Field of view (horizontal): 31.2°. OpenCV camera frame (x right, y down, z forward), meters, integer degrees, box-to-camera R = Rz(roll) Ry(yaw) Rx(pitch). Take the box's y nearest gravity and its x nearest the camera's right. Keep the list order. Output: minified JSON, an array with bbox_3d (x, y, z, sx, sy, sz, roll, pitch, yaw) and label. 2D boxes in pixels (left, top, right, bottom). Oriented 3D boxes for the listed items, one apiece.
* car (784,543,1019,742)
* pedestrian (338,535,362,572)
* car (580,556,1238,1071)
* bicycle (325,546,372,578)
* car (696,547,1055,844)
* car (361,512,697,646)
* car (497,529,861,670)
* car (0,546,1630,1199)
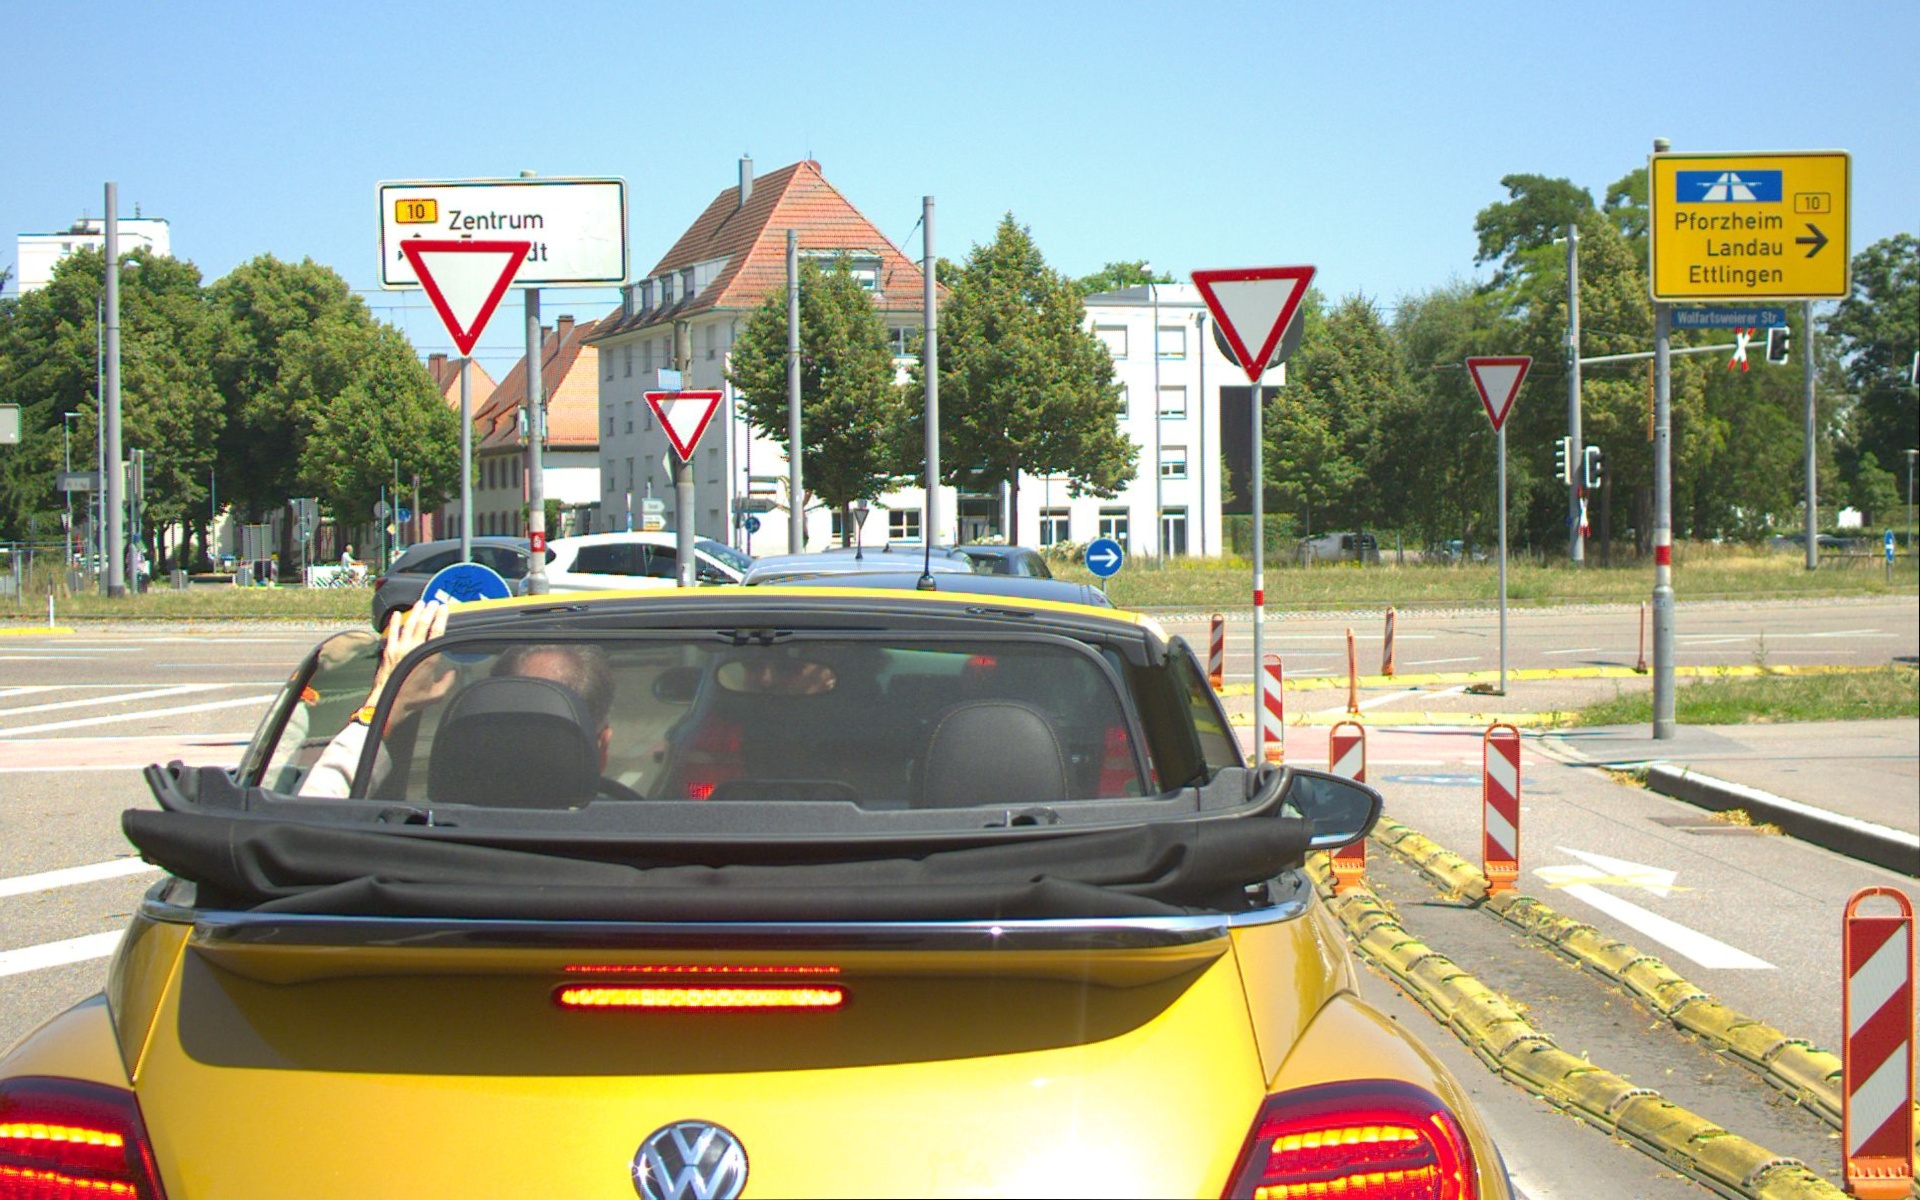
[{"bbox_3d":[-0.456,0.287,27.490,1.736,1.472,4.000,0,1,-1],"label":"car"},{"bbox_3d":[-20.193,-1.553,113.819,0.676,1.226,0.499,0,1,-27],"label":"pedestrian"},{"bbox_3d":[-0.162,0.575,11.676,1.848,1.437,4.000,0,1,-1],"label":"car"},{"bbox_3d":[-20.239,-1.266,113.800,1.465,1.067,0.499,0,1,-27],"label":"bicycle"},{"bbox_3d":[-0.429,0.436,18.689,1.736,1.437,4.000,0,1,-1],"label":"car"},{"bbox_3d":[-5.653,-0.276,45.251,3.989,1.491,1.646,-3,0,14],"label":"car"},{"bbox_3d":[-3.302,-0.023,40.672,4.001,1.614,1.680,0,1,10],"label":"car"},{"bbox_3d":[-0.326,0.635,4.864,1.752,1.417,3.778,0,1,-1],"label":"car"}]
